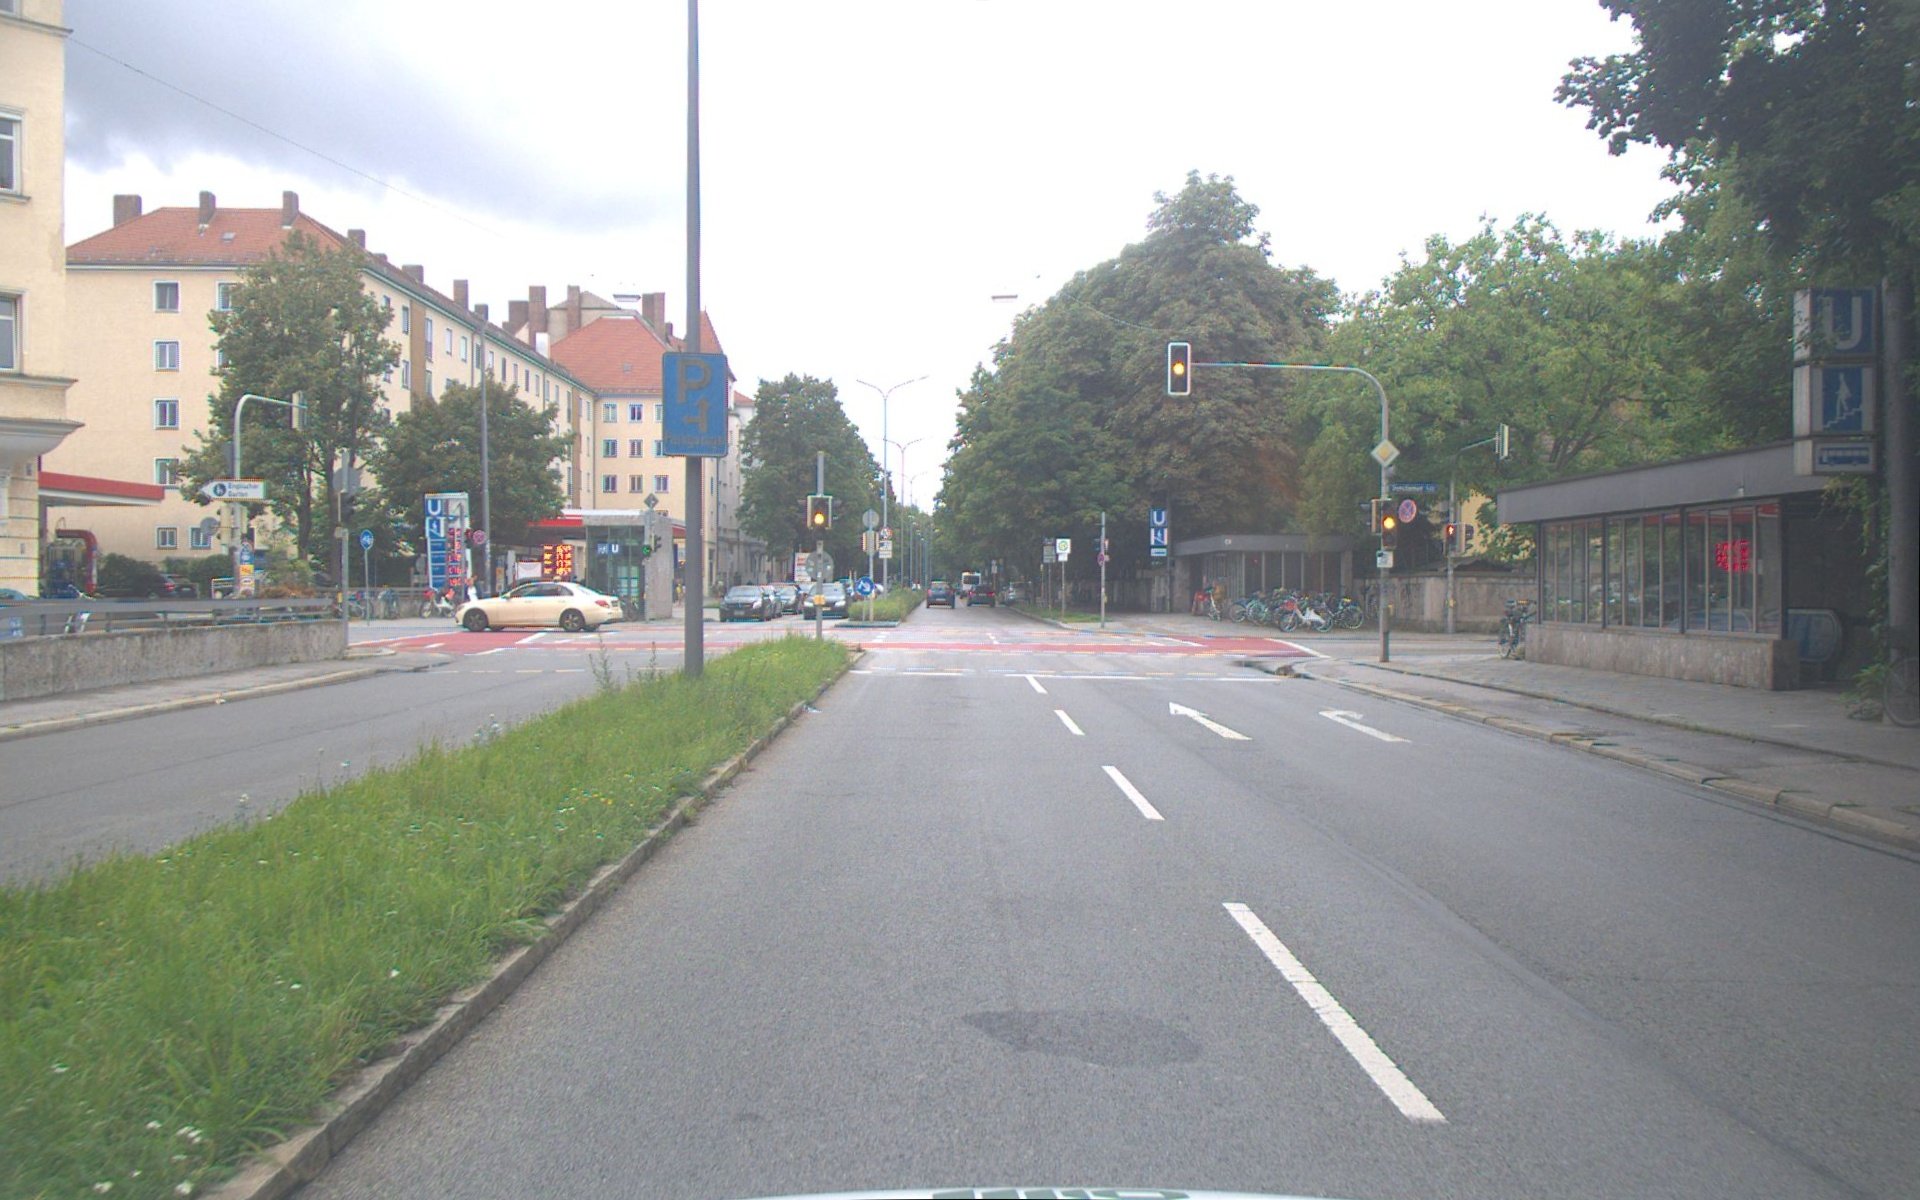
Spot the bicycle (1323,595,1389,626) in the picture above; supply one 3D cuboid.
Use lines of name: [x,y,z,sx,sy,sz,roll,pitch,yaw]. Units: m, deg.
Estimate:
bicycle: [13.199,0.354,55.158,2.097,1.032,0.634,0,0,7]

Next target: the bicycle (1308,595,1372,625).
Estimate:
bicycle: [13.027,0.343,56.733,2.097,1.032,0.634,0,0,7]

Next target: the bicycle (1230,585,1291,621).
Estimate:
bicycle: [10.590,0.093,58.394,2.097,1.240,0.603,0,0,7]

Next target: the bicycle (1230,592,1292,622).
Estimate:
bicycle: [10.499,0.227,57.689,2.097,1.032,0.603,0,0,7]

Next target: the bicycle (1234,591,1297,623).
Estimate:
bicycle: [10.481,0.248,56.807,2.097,1.080,0.603,0,0,7]

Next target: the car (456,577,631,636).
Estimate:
car: [-12.240,0.182,48.758,4.665,1.675,1.786,0,1,4]

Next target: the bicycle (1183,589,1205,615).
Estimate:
bicycle: [9.466,0.064,66.982,0.545,1.032,2.014,0,1,-3]

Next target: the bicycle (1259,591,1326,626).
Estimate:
bicycle: [10.837,0.283,53.928,2.097,1.120,0.603,0,0,7]

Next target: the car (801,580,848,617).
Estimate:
car: [-5.657,-0.074,69.522,1.724,1.519,3.999,0,1,-1]

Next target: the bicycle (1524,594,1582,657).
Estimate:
bicycle: [11.084,0.469,30.957,0.459,1.141,1.735,0,0,0]

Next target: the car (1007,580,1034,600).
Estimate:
car: [4.162,-0.691,114.416,1.707,1.387,3.806,0,1,-1]

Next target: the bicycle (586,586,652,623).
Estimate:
bicycle: [-12.429,0.150,60.310,2.238,1.327,0.694,0,0,0]

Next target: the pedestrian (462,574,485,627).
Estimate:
pedestrian: [-15.869,0.018,53.983,0.522,1.725,0.577,0,0,8]

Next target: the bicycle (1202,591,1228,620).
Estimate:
bicycle: [9.392,0.187,60.913,0.545,1.032,2.014,0,1,-3]

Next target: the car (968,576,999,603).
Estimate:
car: [1.530,-0.674,108.589,1.883,1.713,4.000,2,0,0]

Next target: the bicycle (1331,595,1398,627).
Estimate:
bicycle: [13.287,0.361,54.364,2.097,1.032,0.634,0,0,7]

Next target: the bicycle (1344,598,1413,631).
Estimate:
bicycle: [13.349,0.469,52.801,2.097,1.032,0.634,0,0,7]

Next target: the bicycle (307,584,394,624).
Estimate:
bicycle: [-20.750,0.138,56.341,2.676,1.273,0.785,2,0,-32]

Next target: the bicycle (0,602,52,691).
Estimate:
bicycle: [-12.833,0.604,22.349,0.388,1.135,1.810,0,1,-9]

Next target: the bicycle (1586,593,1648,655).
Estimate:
bicycle: [12.283,0.437,30.971,0.459,1.141,1.735,0,0,0]

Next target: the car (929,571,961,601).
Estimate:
car: [-0.883,-0.842,95.844,1.819,1.713,3.999,0,1,-1]

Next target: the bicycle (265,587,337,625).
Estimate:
bicycle: [-21.995,0.184,55.245,2.142,1.257,0.763,0,0,-12]

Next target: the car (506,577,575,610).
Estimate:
car: [-26.325,-0.433,103.846,3.909,2.049,1.889,0,1,-5]

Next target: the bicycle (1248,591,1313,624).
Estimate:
bicycle: [10.722,0.248,55.361,2.097,1.105,0.603,0,0,7]

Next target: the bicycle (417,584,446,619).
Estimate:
bicycle: [-19.196,0.038,60.108,0.596,1.257,2.184,0,1,-7]

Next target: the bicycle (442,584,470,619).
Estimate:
bicycle: [-18.559,0.032,60.944,0.596,1.257,2.184,0,1,-7]

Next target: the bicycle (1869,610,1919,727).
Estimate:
bicycle: [9.540,0.667,15.775,0.609,1.109,2.026,0,1,-1]

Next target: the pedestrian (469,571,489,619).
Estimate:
pedestrian: [-17.576,-0.194,60.467,0.583,1.725,0.571,0,0,-31]

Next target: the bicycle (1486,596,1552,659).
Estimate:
bicycle: [10.441,0.497,30.931,0.587,1.141,1.889,0,0,0]

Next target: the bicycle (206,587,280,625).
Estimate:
bicycle: [-23.894,0.196,55.134,2.140,1.257,0.764,0,0,-10]

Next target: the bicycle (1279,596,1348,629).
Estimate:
bicycle: [11.205,0.403,52.473,2.097,1.032,0.634,0,0,7]

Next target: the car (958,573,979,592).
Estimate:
car: [0.859,-1.708,160.937,1.953,1.787,3.999,0,1,-1]

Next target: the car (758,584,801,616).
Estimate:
car: [-8.810,-0.025,81.139,1.724,1.486,3.999,0,1,-1]

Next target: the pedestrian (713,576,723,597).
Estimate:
pedestrian: [-18.457,-1.035,126.324,0.682,1.666,0.738,0,0,-1]

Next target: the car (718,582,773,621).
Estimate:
car: [-8.549,0.039,66.135,1.724,1.486,3.999,0,1,-1]

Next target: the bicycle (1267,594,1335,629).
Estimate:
bicycle: [10.979,0.370,53.275,2.097,1.089,0.603,0,0,7]

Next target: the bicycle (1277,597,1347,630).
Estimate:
bicycle: [11.016,0.419,51.846,2.097,1.032,0.603,0,0,7]

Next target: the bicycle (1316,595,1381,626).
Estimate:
bicycle: [13.137,0.348,55.942,2.097,1.032,0.634,0,0,7]

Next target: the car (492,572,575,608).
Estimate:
car: [-22.271,-0.525,86.514,3.908,1.870,1.879,0,1,-4]

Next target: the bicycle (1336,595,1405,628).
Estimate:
bicycle: [13.290,0.362,53.597,2.097,1.032,0.634,0,0,7]

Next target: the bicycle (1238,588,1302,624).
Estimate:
bicycle: [10.518,0.207,56.106,2.097,1.199,0.603,0,0,7]

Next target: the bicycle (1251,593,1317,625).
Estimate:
bicycle: [10.702,0.291,54.641,2.097,1.032,0.603,0,0,7]

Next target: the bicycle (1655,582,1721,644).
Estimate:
bicycle: [13.617,0.242,30.982,0.459,1.141,1.735,0,0,0]

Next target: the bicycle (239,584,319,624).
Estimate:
bicycle: [-22.990,0.134,55.870,2.351,1.273,0.790,2,0,-12]

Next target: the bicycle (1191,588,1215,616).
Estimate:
bicycle: [9.329,0.065,63.642,0.545,1.032,2.014,0,1,-3]
